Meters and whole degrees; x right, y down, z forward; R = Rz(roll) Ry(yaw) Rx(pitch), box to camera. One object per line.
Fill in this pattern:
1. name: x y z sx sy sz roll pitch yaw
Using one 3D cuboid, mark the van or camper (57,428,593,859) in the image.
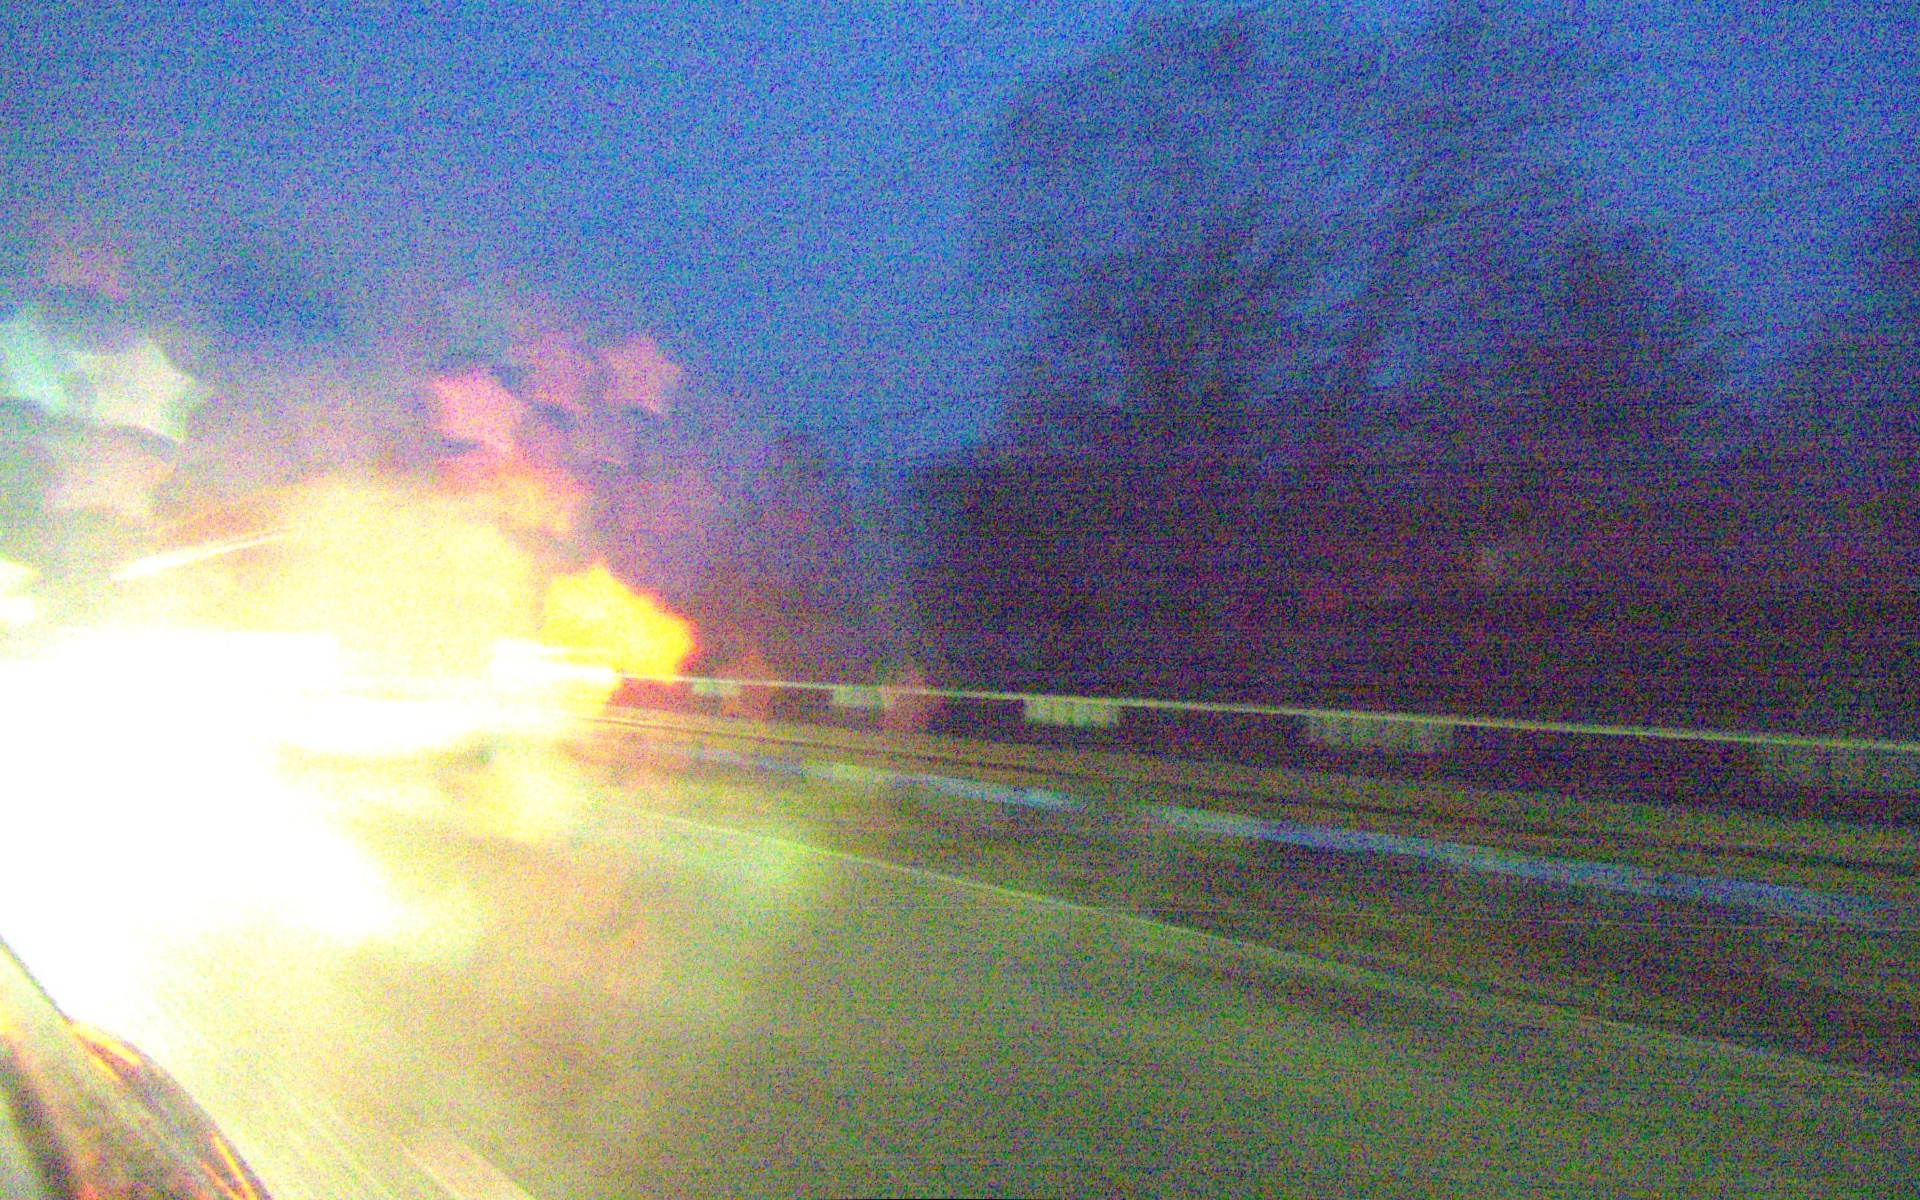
1. van or camper: -5.724 0.355 8.729 5.777 2.585 2.102 -2 -3 39
